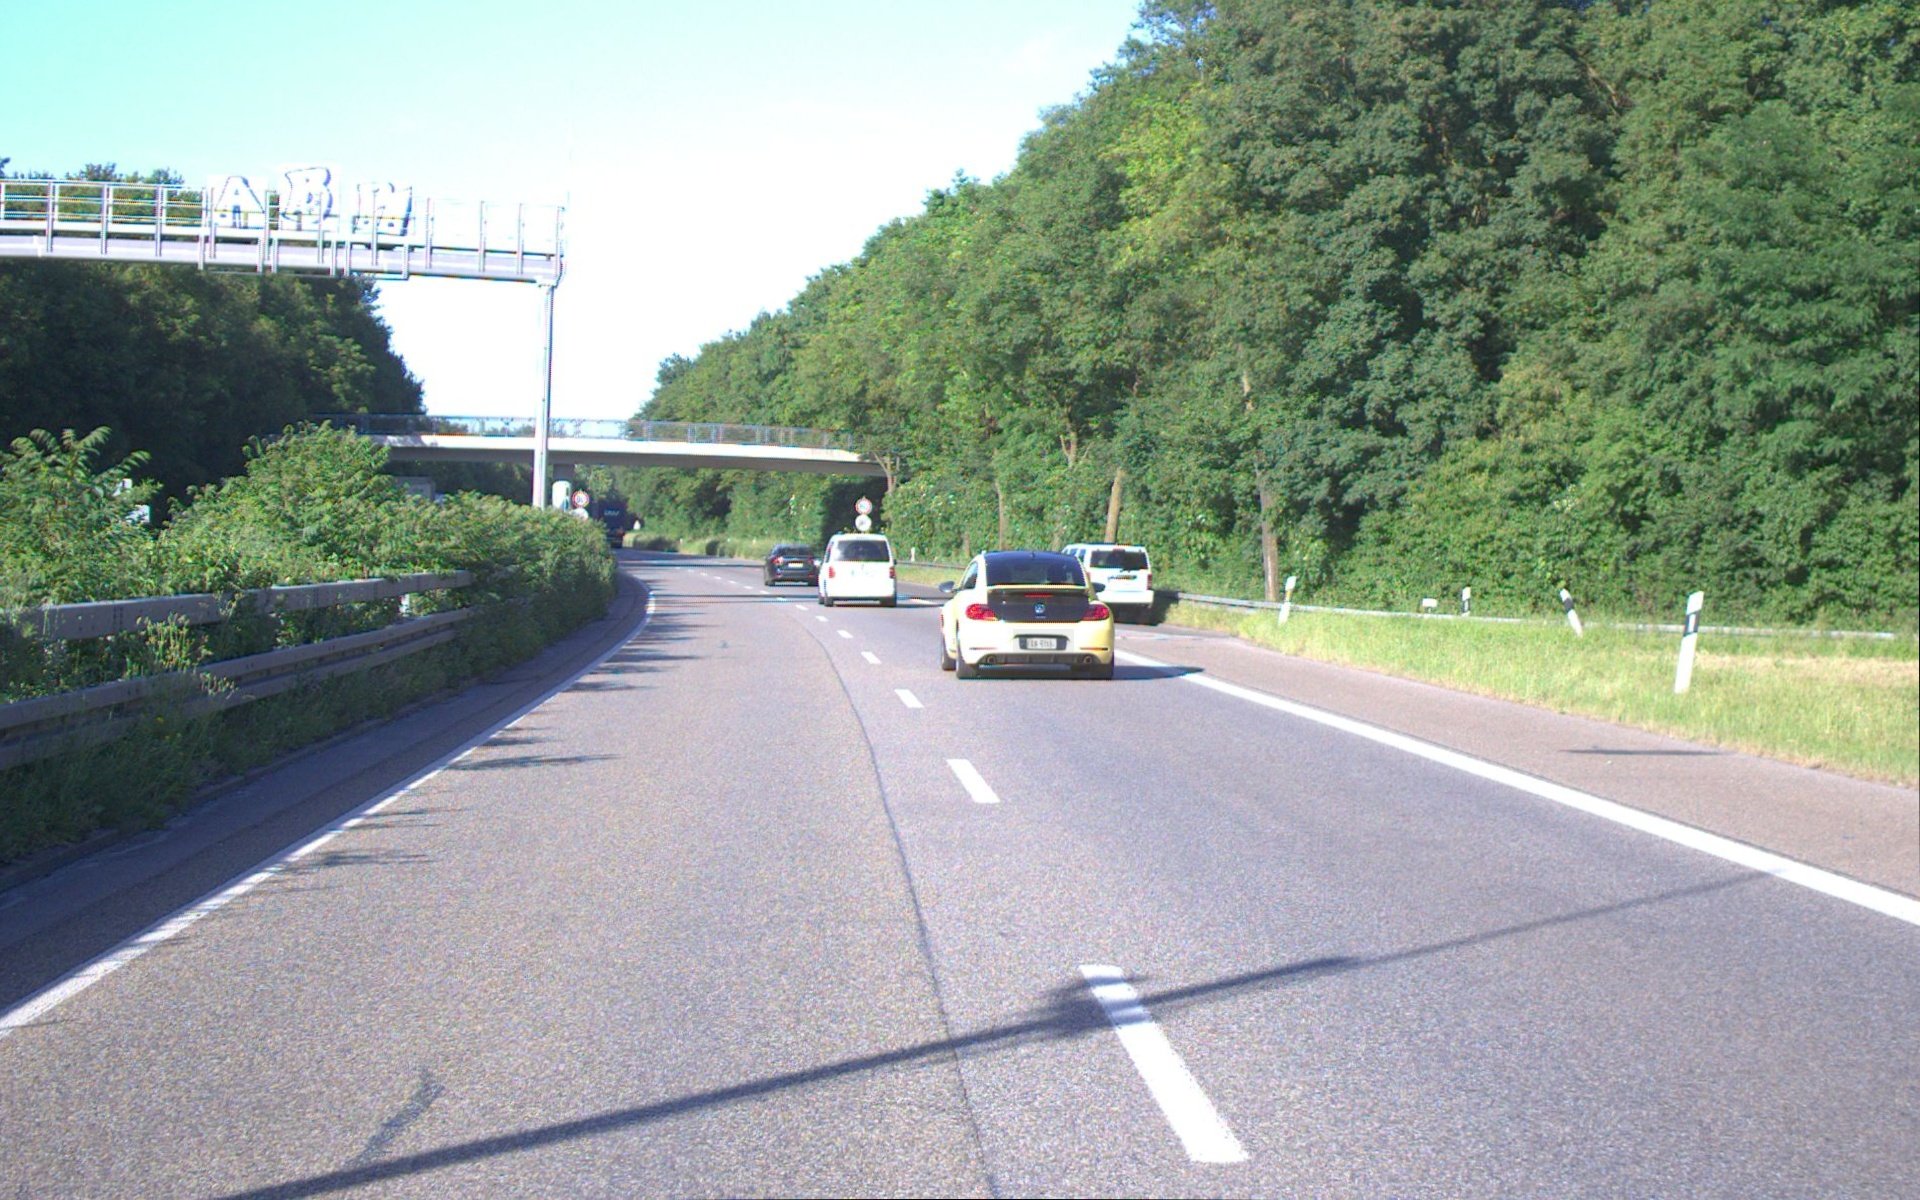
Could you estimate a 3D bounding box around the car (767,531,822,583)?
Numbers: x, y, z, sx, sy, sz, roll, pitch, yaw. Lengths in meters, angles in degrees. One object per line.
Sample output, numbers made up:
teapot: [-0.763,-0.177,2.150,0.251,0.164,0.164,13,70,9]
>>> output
car: [-5.855,-1.524,121.172,1.897,1.761,4.001,1,1,-3]

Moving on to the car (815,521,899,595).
car: [-2.553,-1.050,84.563,1.897,1.761,4.001,1,1,-4]

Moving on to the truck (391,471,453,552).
truck: [-27.543,-4.505,176.076,2.737,4.013,6.181,2,1,-6]

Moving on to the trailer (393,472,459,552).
trailer: [-28.275,-4.609,182.416,2.737,4.013,14.078,2,1,-6]

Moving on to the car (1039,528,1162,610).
car: [3.175,-0.722,78.533,1.896,1.817,4.001,0,1,-12]

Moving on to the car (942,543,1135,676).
car: [0.863,0.075,40.299,1.897,1.466,4.001,1,1,-4]
